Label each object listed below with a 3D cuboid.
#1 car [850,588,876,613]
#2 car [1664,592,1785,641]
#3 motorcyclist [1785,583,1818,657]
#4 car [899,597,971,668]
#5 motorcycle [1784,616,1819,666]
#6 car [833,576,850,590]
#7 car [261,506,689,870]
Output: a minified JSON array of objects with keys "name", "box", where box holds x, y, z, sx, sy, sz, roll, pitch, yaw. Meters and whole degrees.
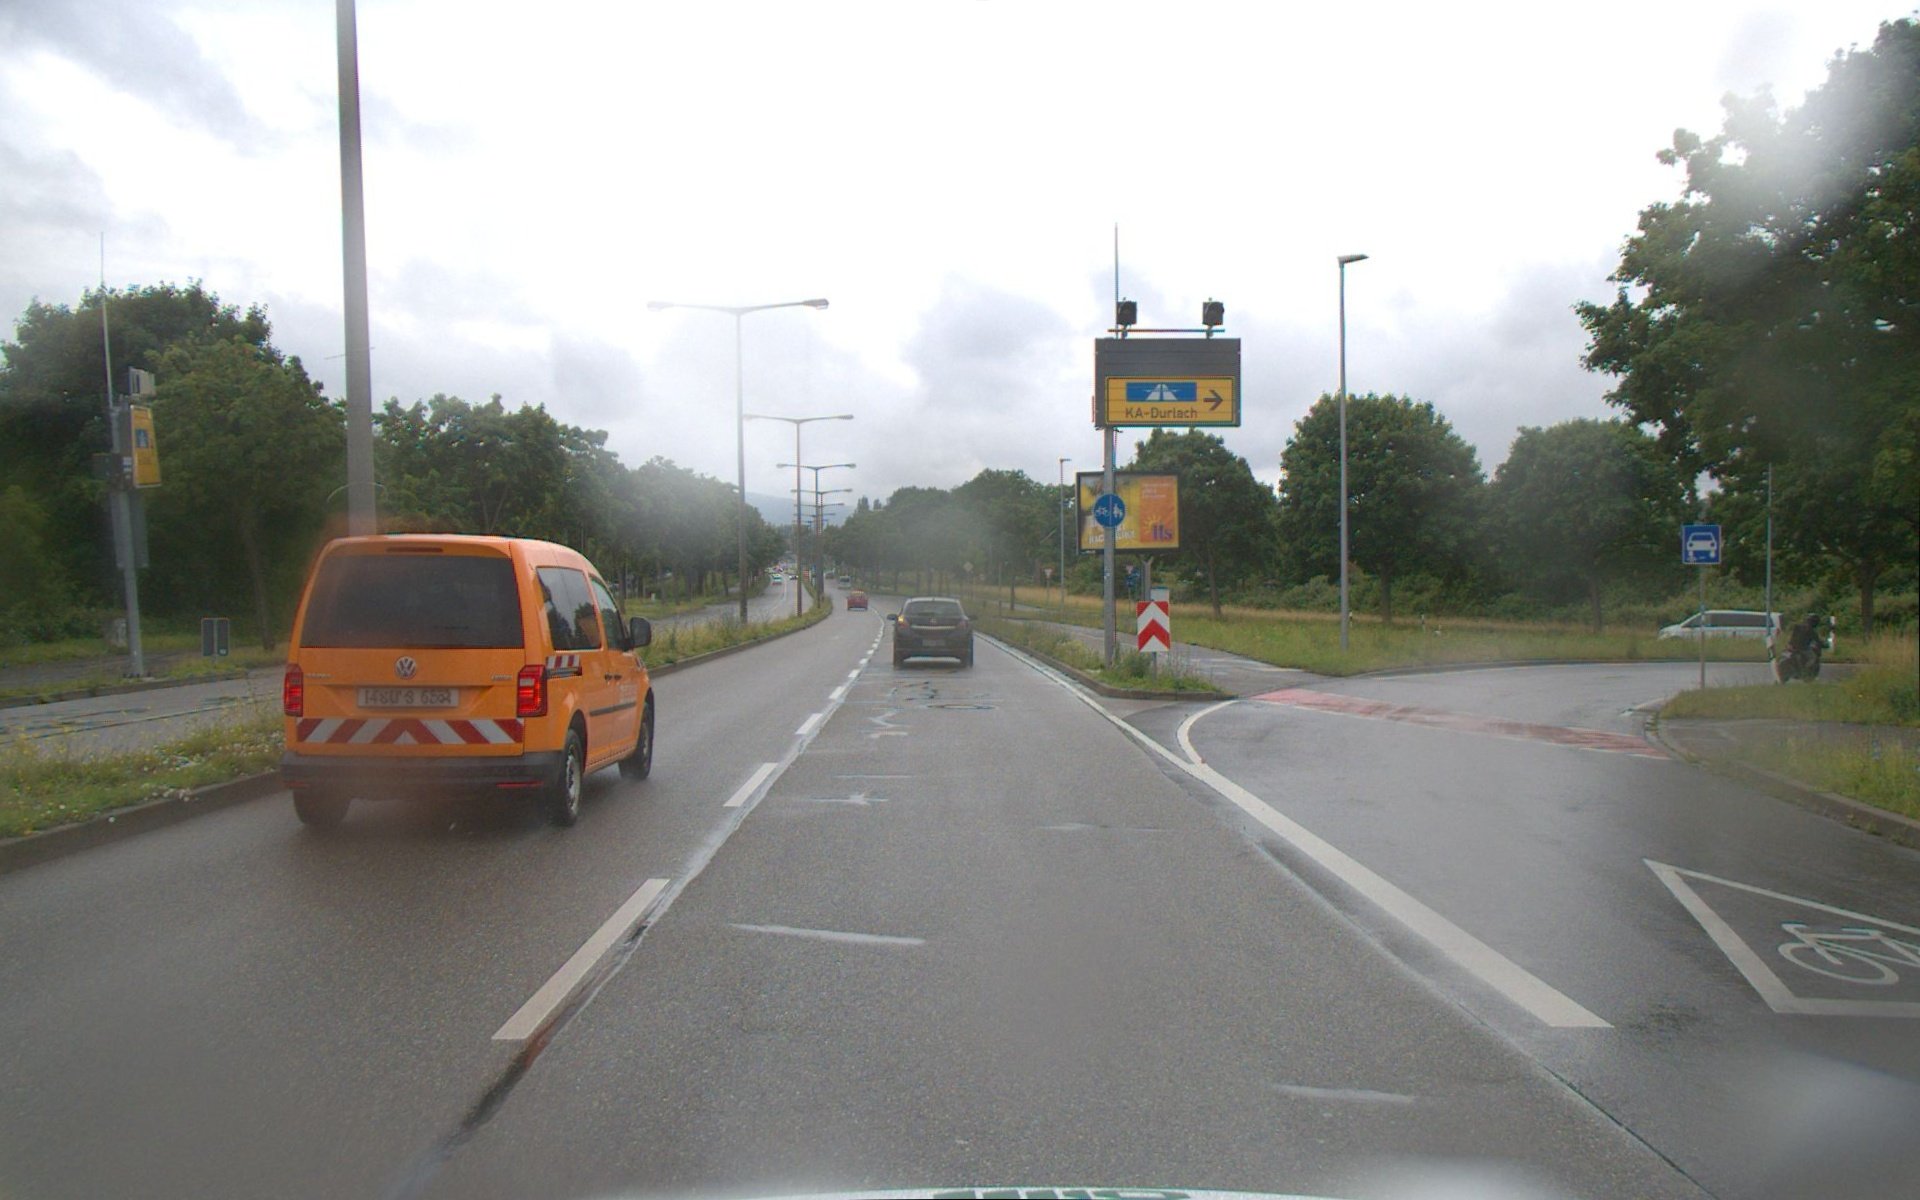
[{"name":"car","box":[-7.704,0.027,131.751,1.953,1.912,3.998,0,0,-2]},{"name":"car","box":[32.764,0.678,70.898,4.509,2.009,2.061,1,0,31]},{"name":"motorcyclist","box":[19.710,0.456,38.739,0.590,1.720,0.858,-1,0,32]},{"name":"car","box":[-0.569,0.651,35.158,1.433,1.352,3.756,0,1,-2]},{"name":"motorcycle","box":[19.726,0.948,38.757,0.590,1.112,1.728,-1,0,32]},{"name":"car","box":[-18.441,-2.643,256.770,2.467,2.088,5.287,-1,0,-5]},{"name":"car","box":[-3.161,0.504,11.856,1.699,2.054,4.848,1,0,-1]}]
